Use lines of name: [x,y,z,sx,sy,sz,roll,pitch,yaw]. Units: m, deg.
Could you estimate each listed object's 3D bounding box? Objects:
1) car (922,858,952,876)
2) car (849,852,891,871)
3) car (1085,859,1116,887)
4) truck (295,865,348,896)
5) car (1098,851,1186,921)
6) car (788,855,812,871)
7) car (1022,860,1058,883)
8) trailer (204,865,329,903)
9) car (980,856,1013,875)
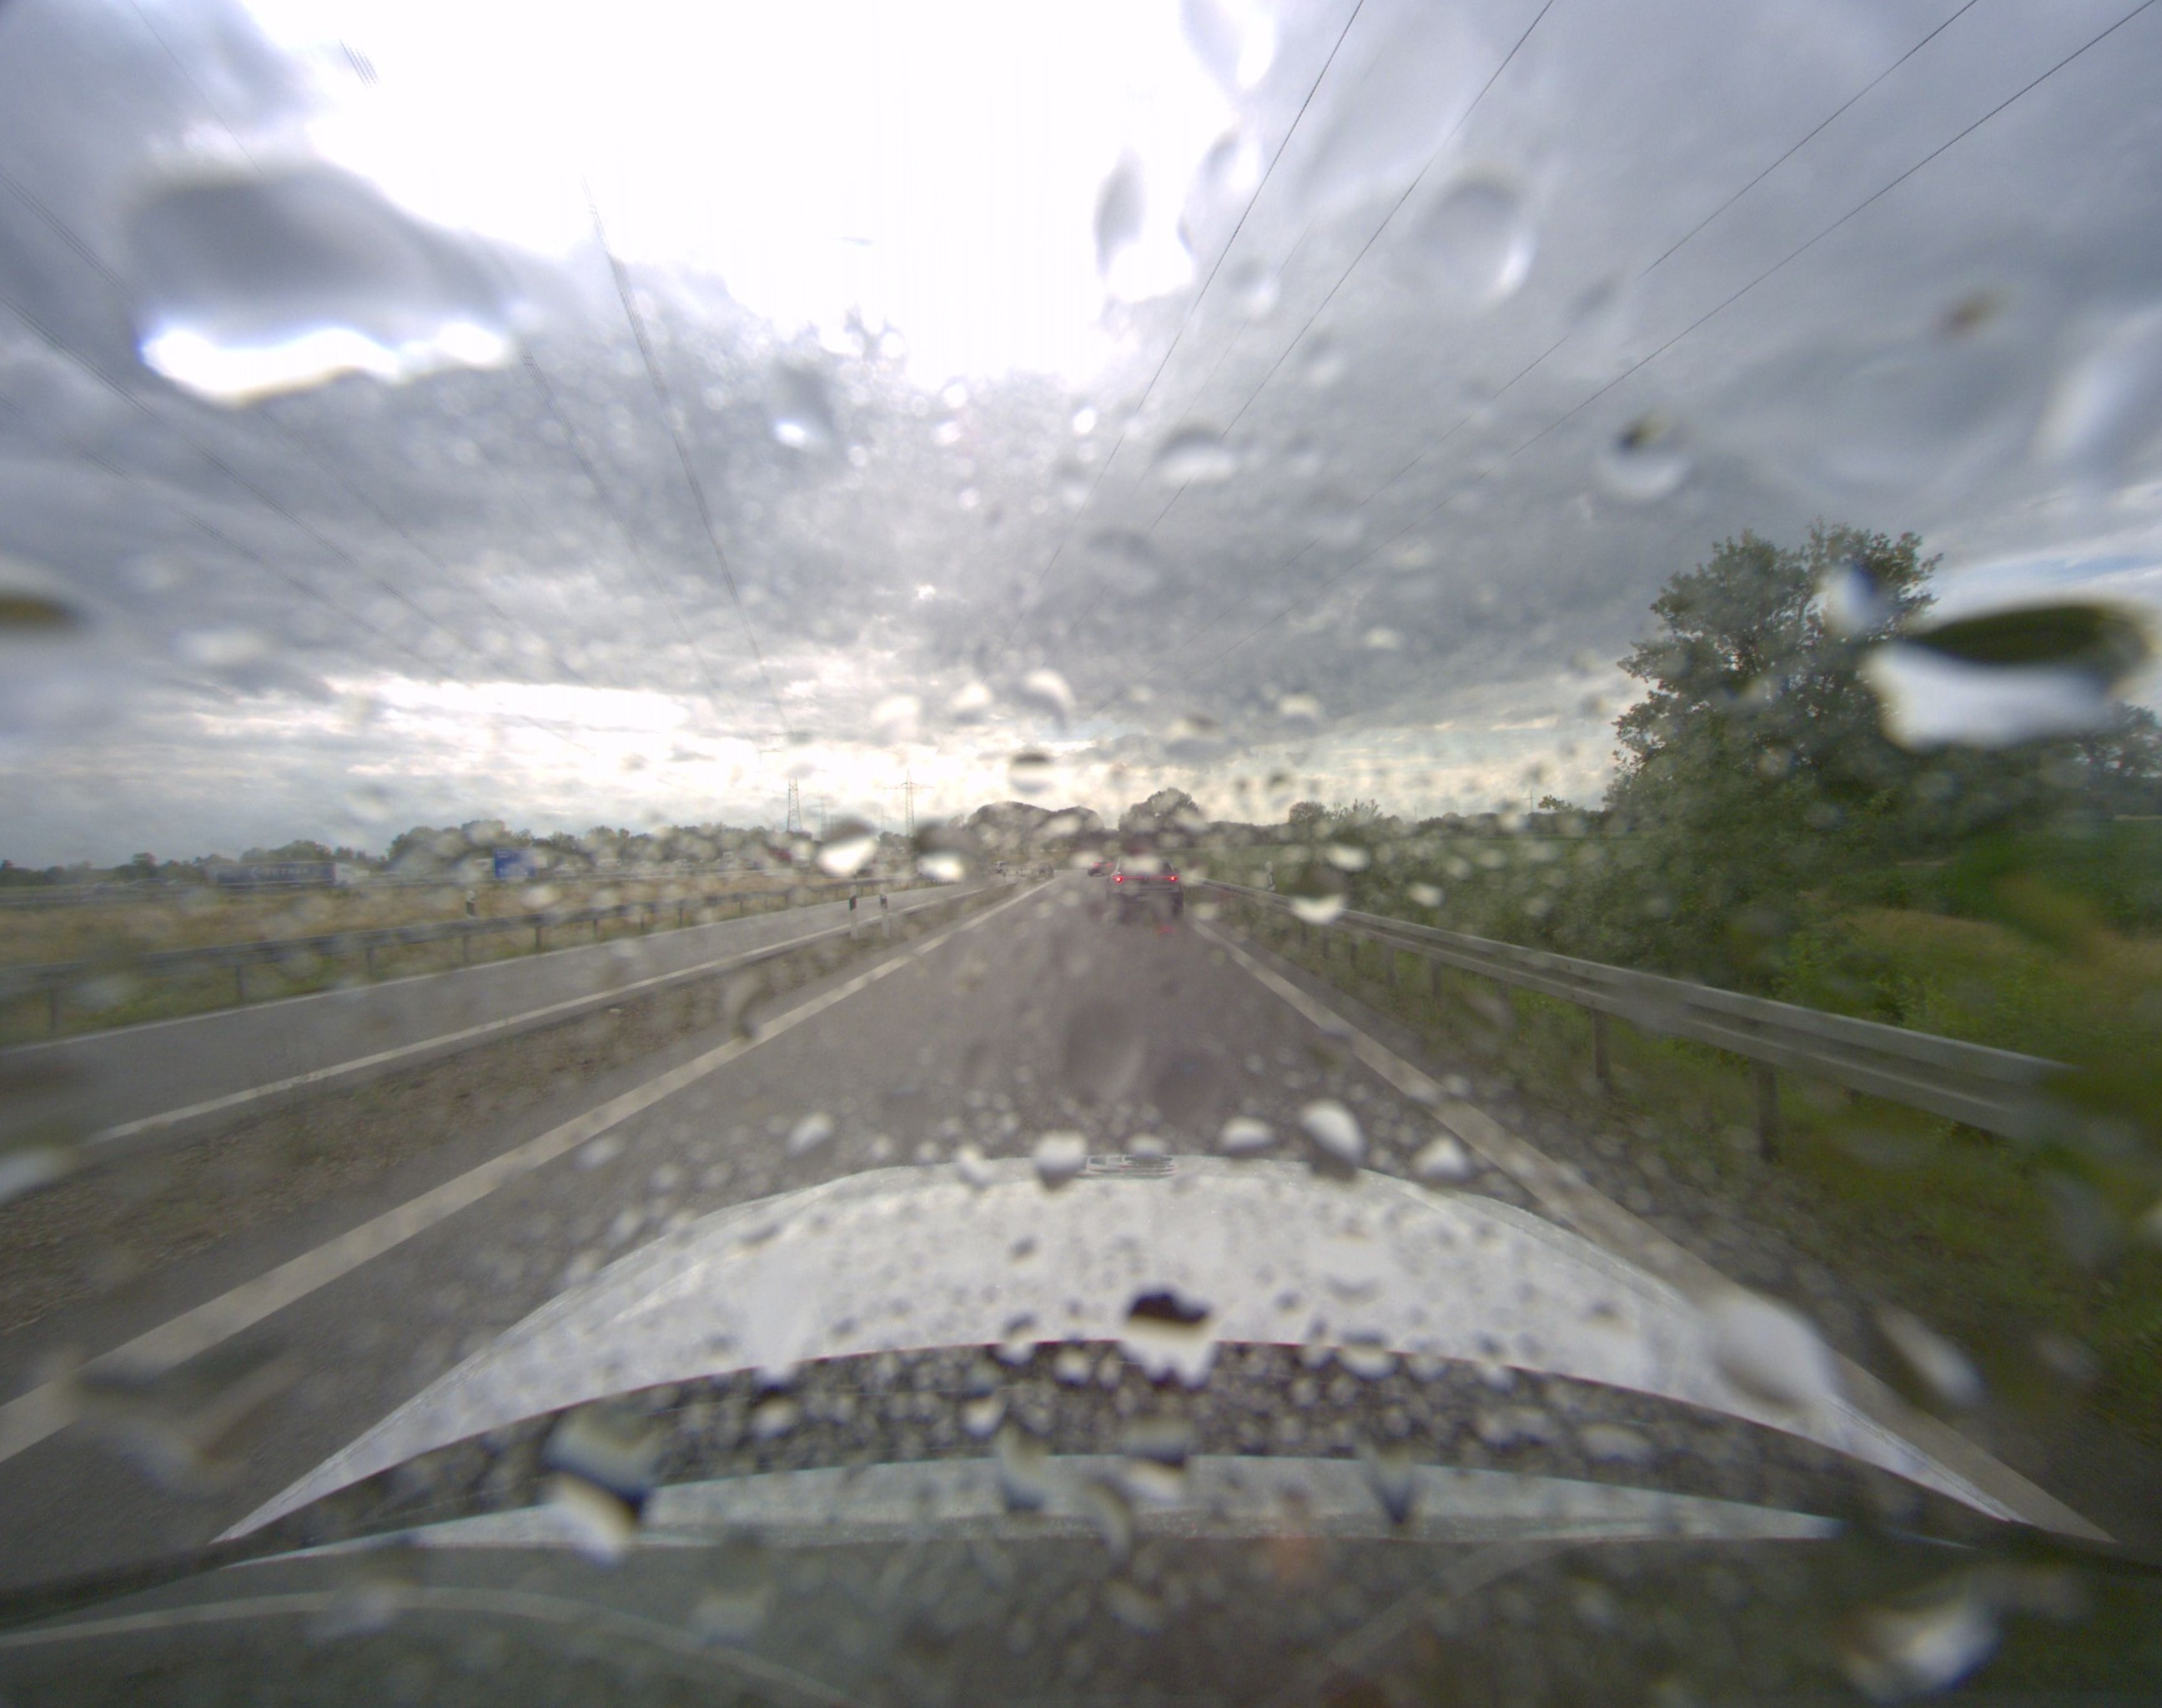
car: [-21.424,1.912,121.226,2.369,2.306,5.073,-3,3,-36]
car: [-35.212,1.141,135.667,7.117,2.951,3.166,0,3,40]
car: [1.526,1.491,66.970,2.116,2.018,5.529,-2,1,-3]
truck: [-120.124,4.099,128.886,3.045,4.478,5.095,-1,2,15]
car: [1.528,0.714,20.634,1.985,1.566,4.153,-1,0,4]
car: [-69.794,2.152,202.269,3.377,3.610,9.030,-2,0,-5]
car: [-4.704,1.939,92.967,2.362,2.306,5.088,-3,2,-24]
trailer: [-121.912,4.367,122.370,3.024,4.634,13.361,-1,2,16]
car: [-11.326,1.491,109.129,2.368,2.306,5.076,-3,3,-33]
